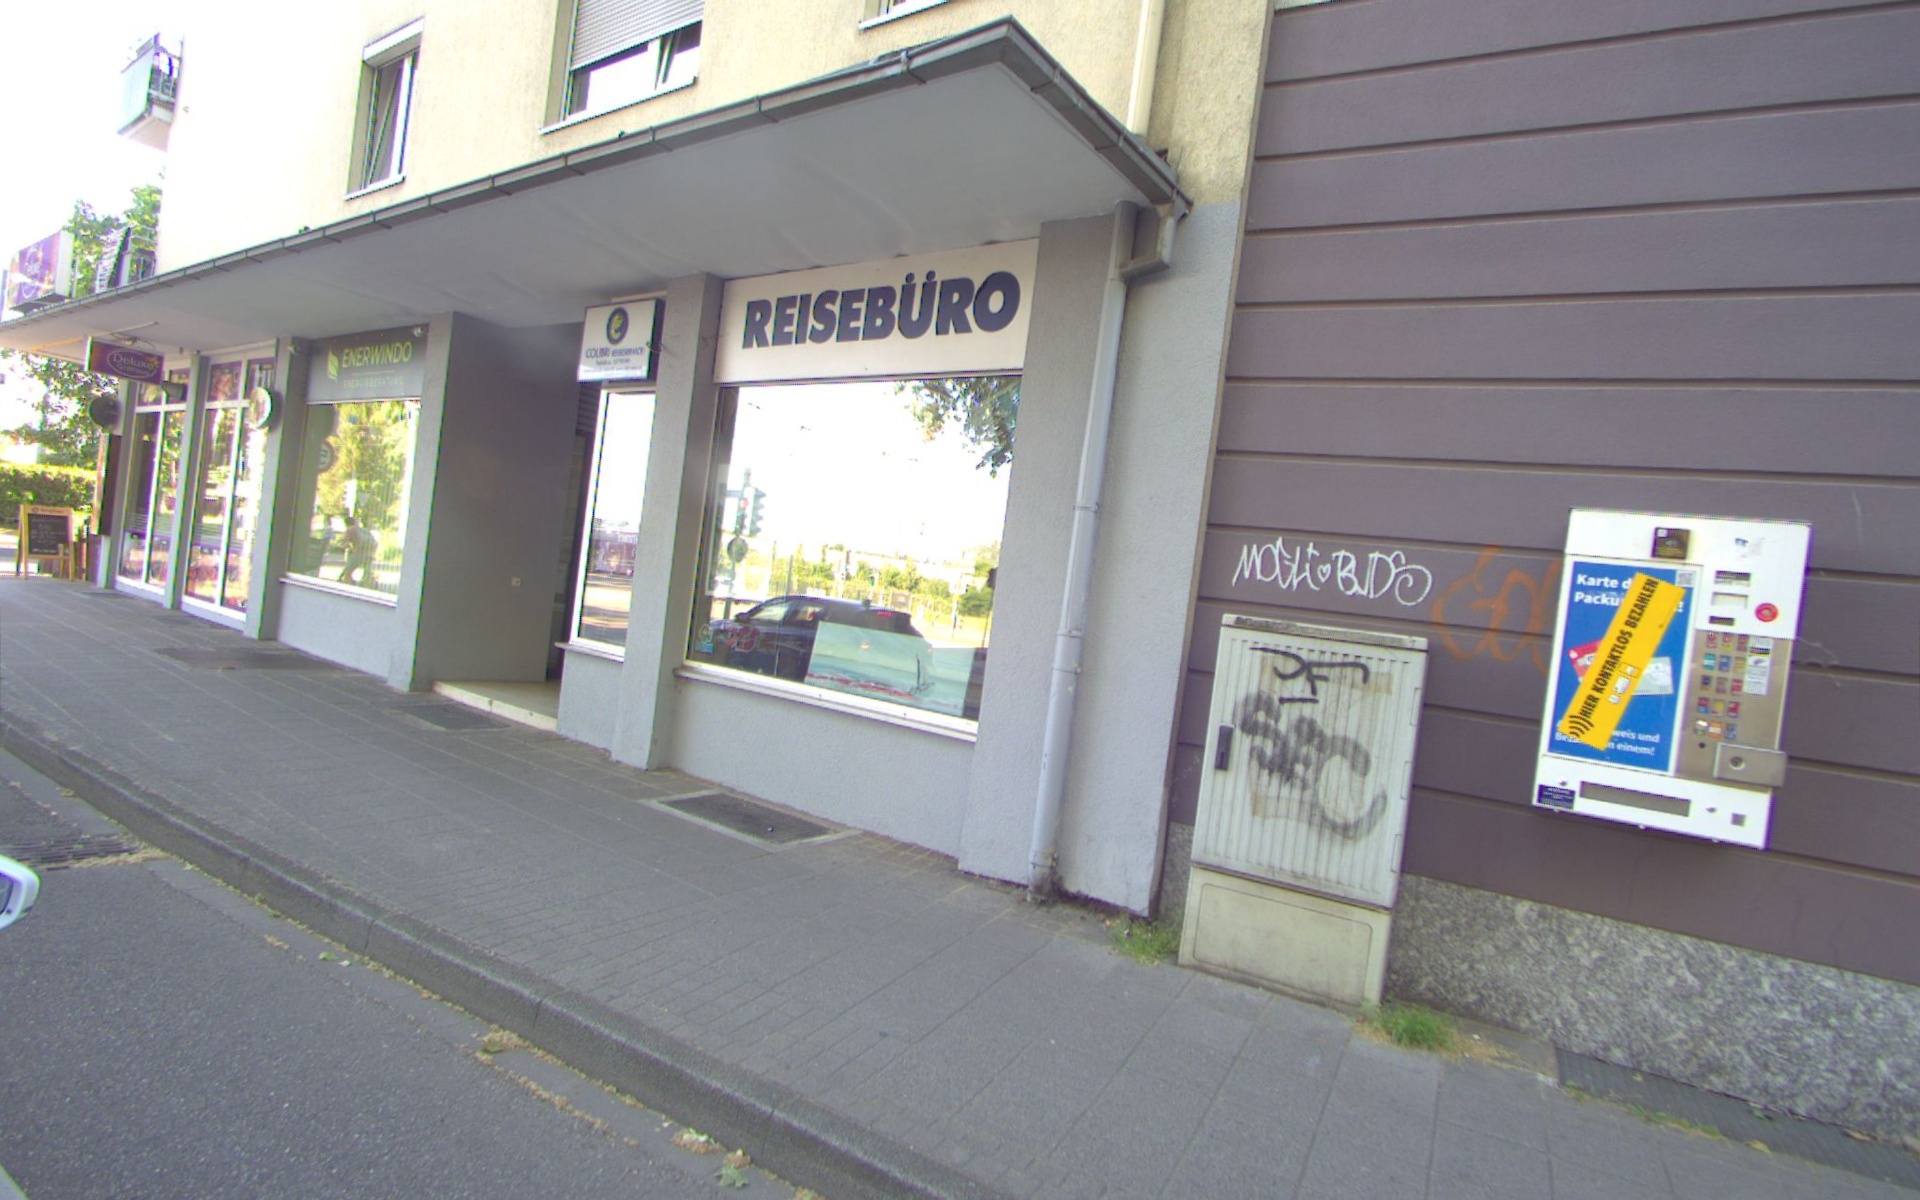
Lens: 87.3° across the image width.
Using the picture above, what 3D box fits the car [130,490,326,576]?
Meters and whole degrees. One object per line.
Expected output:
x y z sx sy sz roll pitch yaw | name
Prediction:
-21.039 -1.868 29.063 1.781 1.835 4.172 3 -3 40 | car
